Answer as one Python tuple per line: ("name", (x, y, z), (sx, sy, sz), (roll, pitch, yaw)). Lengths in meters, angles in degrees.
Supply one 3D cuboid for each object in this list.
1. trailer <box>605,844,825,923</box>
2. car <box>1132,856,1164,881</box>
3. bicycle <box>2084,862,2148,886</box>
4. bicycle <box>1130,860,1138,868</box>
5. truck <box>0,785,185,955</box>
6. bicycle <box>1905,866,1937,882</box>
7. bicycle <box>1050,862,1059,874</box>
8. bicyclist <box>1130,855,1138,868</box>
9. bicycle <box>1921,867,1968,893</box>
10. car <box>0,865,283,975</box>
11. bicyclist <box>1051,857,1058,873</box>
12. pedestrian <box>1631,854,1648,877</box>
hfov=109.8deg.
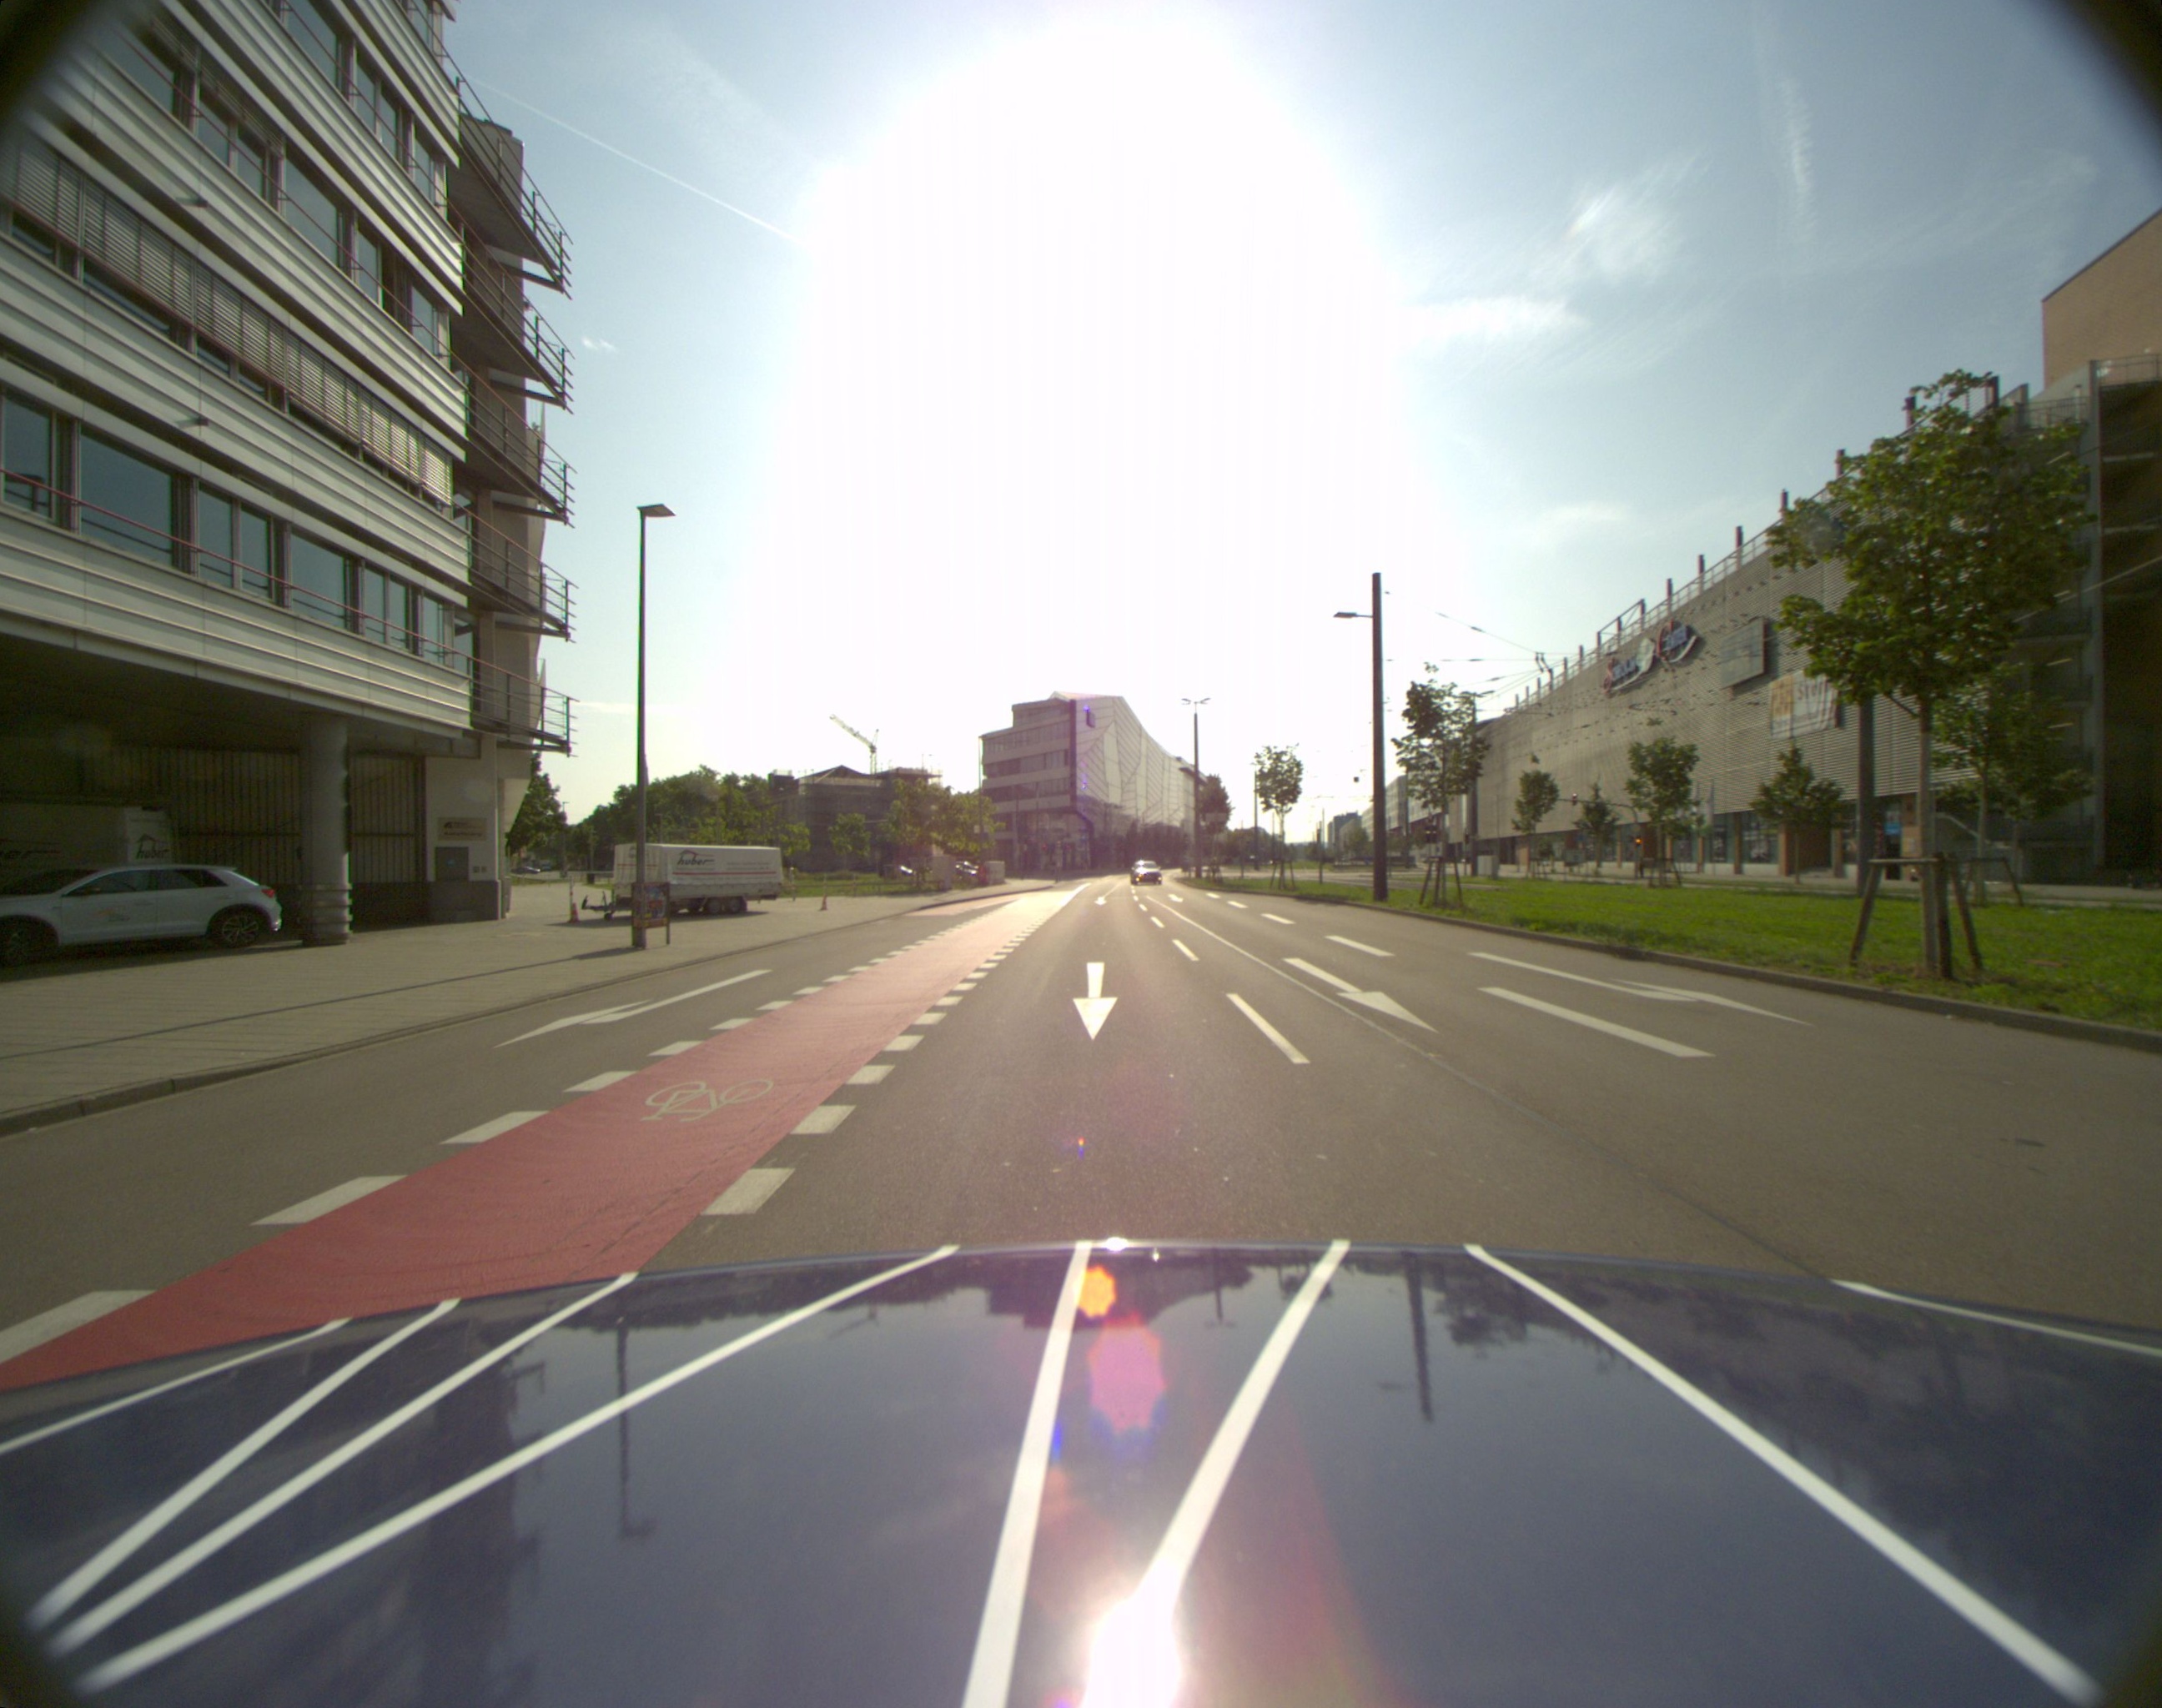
("trailer", (-11.162, 0.805, 23.822), (2.391, 2.138, 5.960), (0, 0, 26))
("car", (4.126, 0.880, 47.171), (1.643, 1.411, 3.895), (-1, 0, -1))
("bicycle", (40.098, 0.771, 29.448), (1.581, 0.935, 0.411), (-1, 0, 15))
("bicycle", (6.977, 1.291, 99.689), (0.418, 1.050, 1.962), (0, 2, 22))
("truck", (-21.423, 0.206, 13.857), (6.164, 3.079, 1.995), (3, 0, -32))
("bicycle", (42.033, 1.002, 38.024), (1.004, 0.747, 0.453), (-1, 0, 17))
("bicycle", (-2.707, 1.444, 78.010), (0.669, 1.092, 1.805), (0, 2, 5))
("bicyclist", (6.994, 0.981, 99.657), (0.781, 1.577, 0.933), (0, 2, 22))
("bicycle", (36.277, 1.080, 31.960), (0.444, 0.982, 2.167), (0, 2, 25))
("car", (-16.159, 0.982, 12.402), (1.747, 1.580, 4.004), (0, -1, 10))
("bicyclist", (-2.703, 1.128, 78.096), (0.669, 1.693, 0.637), (0, 2, 5))
("pedestrian", (38.768, 0.792, 52.735), (0.762, 1.570, 0.590), (0, 0, 11))
